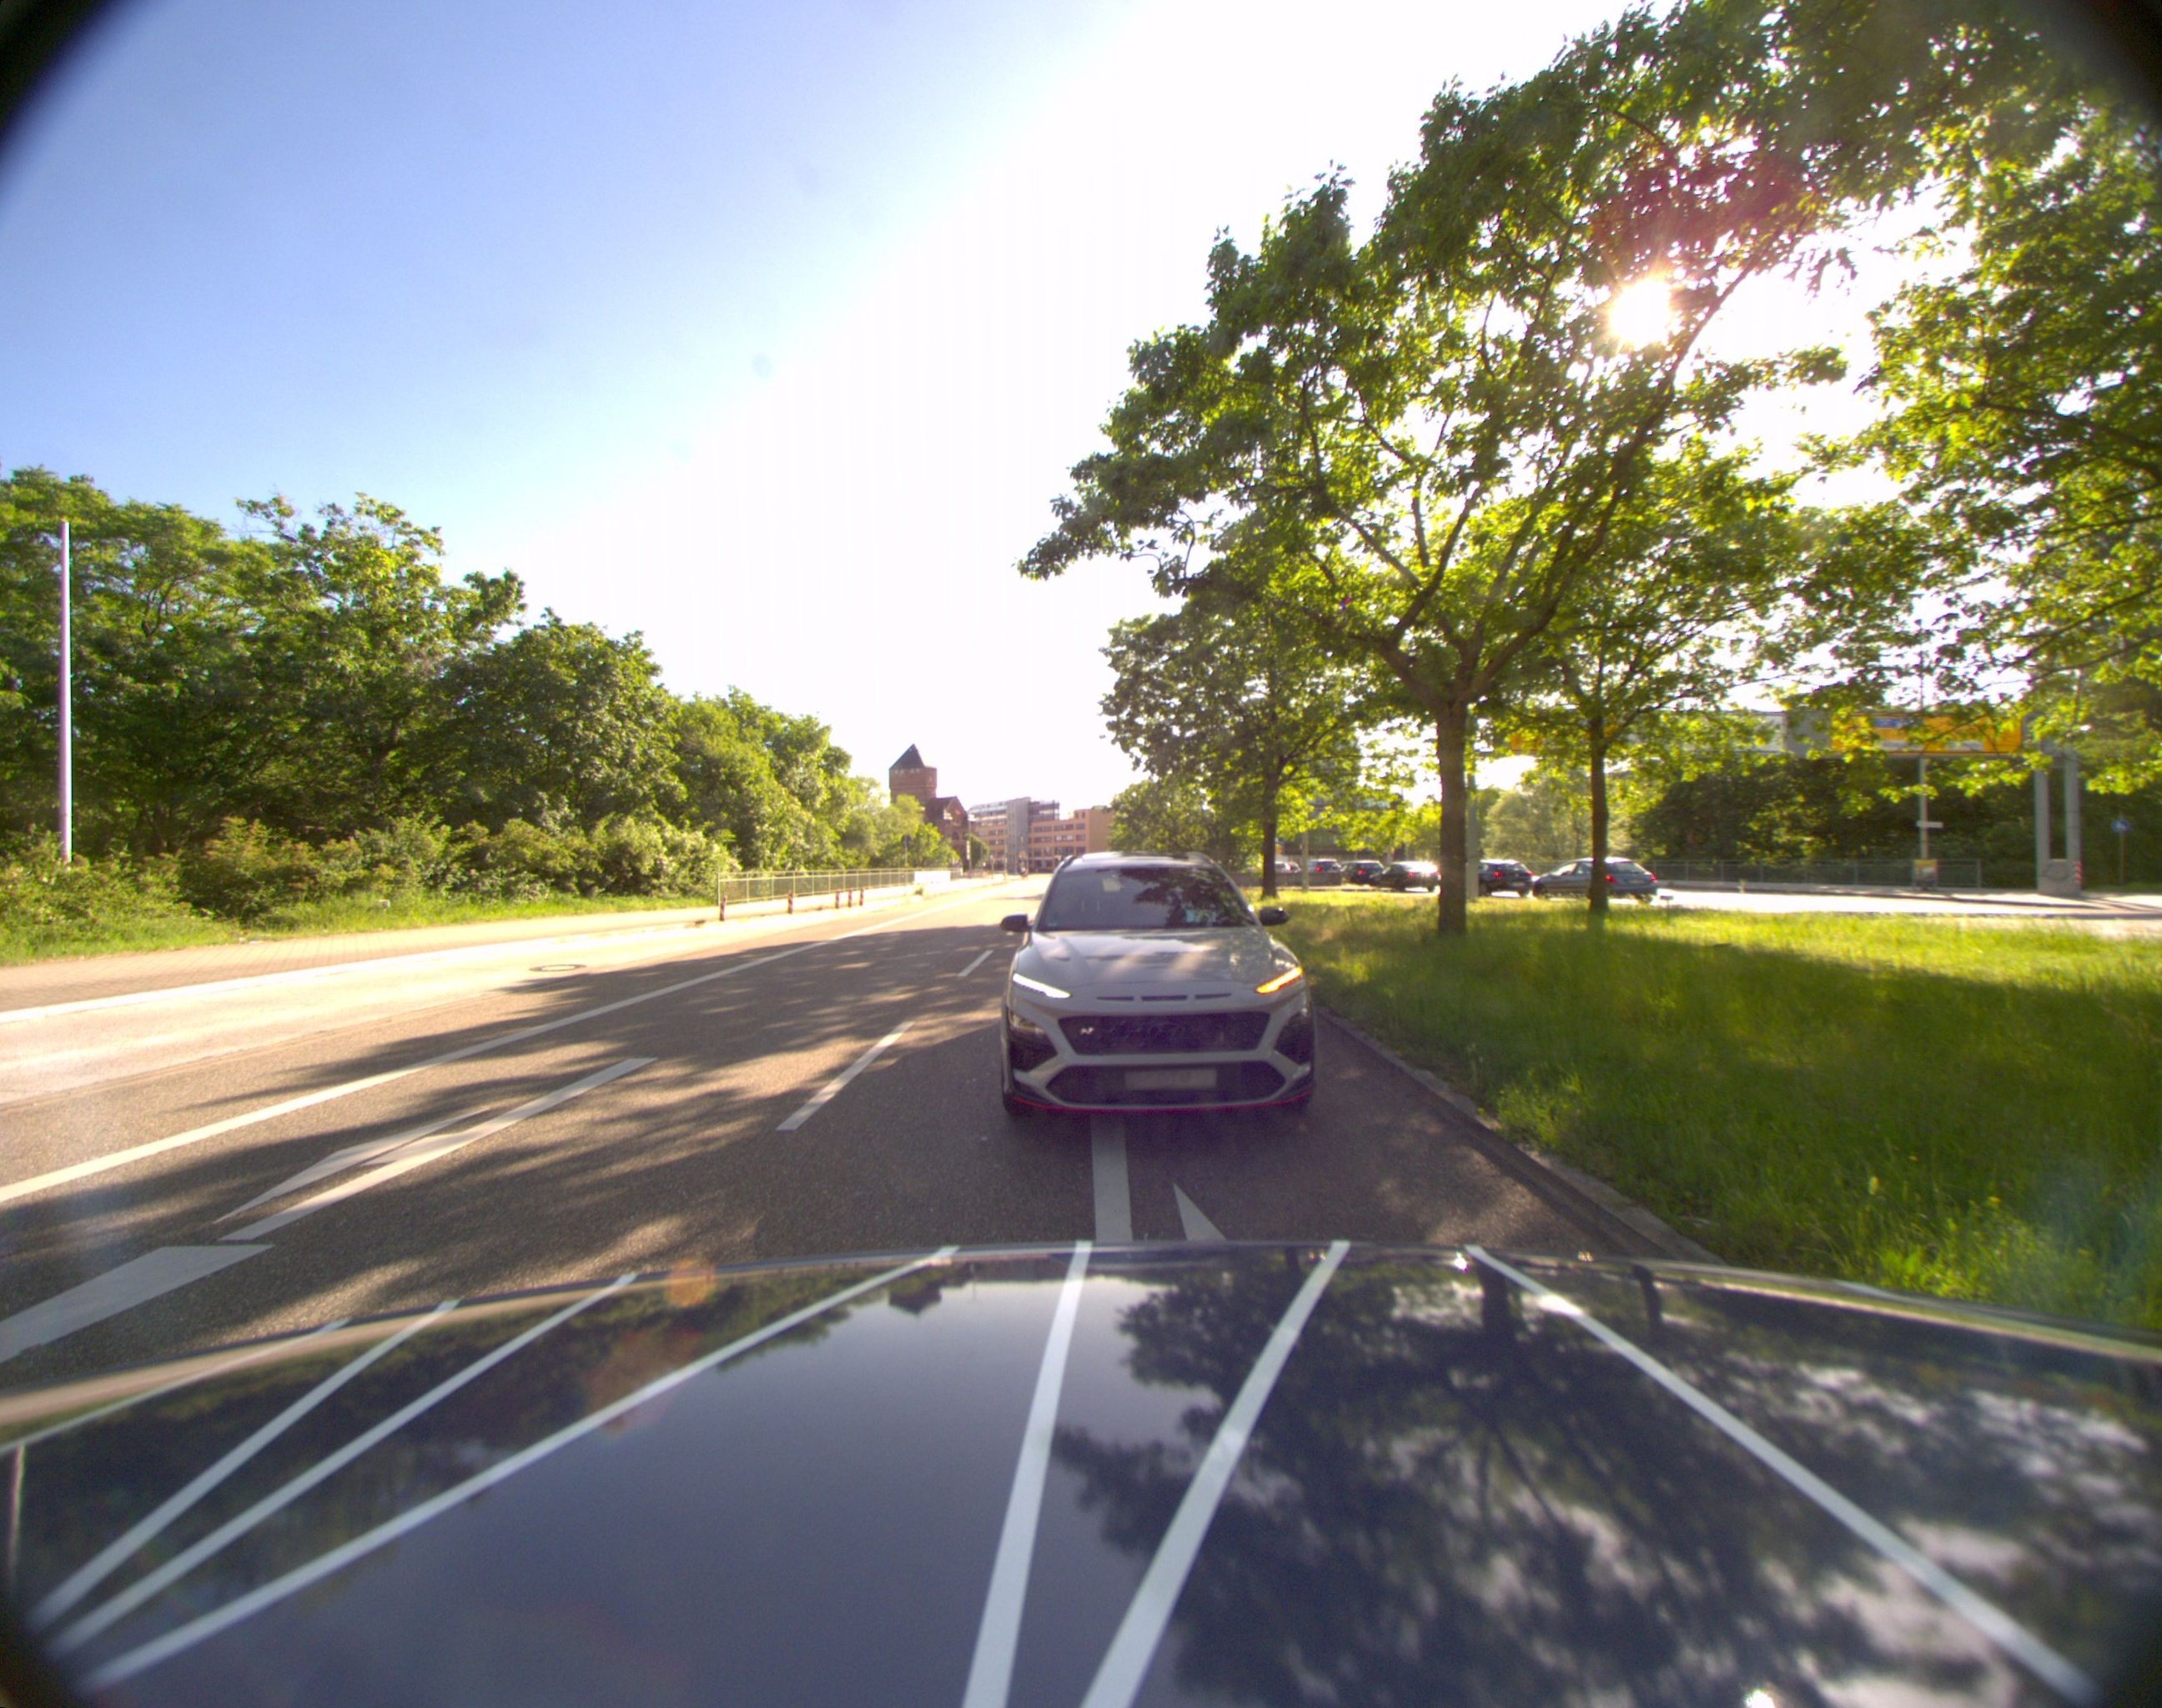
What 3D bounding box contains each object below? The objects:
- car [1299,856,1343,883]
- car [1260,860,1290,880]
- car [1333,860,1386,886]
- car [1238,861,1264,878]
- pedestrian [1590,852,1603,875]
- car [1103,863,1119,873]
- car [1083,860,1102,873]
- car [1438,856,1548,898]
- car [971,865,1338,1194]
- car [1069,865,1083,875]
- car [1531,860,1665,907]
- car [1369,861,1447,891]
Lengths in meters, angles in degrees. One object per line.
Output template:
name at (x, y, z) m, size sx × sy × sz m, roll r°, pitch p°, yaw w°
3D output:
car at (14.970, 0.997, 47.512) m, size 1.450 × 1.549 × 3.202 m, roll -1°, pitch -2°, yaw -6°
car at (14.319, 1.214, 56.120) m, size 1.228 × 1.331 × 2.882 m, roll -1°, pitch -3°, yaw -6°
car at (15.149, 1.039, 41.468) m, size 1.481 × 1.331 × 3.202 m, roll -1°, pitch -1°, yaw -6°
car at (13.934, 1.287, 62.402) m, size 1.199 × 1.252 × 2.768 m, roll -1°, pitch -2°, yaw -6°
pedestrian at (33.387, 0.638, 49.228) m, size 0.421 × 1.490 × 0.545 m, roll -1°, pitch 0°, yaw -7°
car at (4.677, 2.192, 117.483) m, size 1.890 × 1.420 × 4.390 m, roll -1°, pitch 0°, yaw 10°
car at (1.932, 2.028, 124.667) m, size 1.956 × 2.002 × 4.005 m, roll -1°, pitch 0°, yaw 17°
car at (16.184, 0.851, 30.139) m, size 1.875 × 1.541 × 4.221 m, roll -1°, pitch 0°, yaw -4°
car at (0.383, 0.885, 5.678) m, size 1.752 × 1.523 × 3.988 m, roll -1°, pitch 0°, yaw 1°
car at (-0.700, 2.327, 111.593) m, size 1.676 × 1.463 × 4.153 m, roll -1°, pitch 0°, yaw 6°
car at (16.379, 0.887, 24.302) m, size 1.561 × 1.355 × 3.608 m, roll -1°, pitch -1°, yaw -6°
car at (15.472, 1.003, 36.212) m, size 1.623 × 1.305 × 4.066 m, roll -1°, pitch 0°, yaw -6°
